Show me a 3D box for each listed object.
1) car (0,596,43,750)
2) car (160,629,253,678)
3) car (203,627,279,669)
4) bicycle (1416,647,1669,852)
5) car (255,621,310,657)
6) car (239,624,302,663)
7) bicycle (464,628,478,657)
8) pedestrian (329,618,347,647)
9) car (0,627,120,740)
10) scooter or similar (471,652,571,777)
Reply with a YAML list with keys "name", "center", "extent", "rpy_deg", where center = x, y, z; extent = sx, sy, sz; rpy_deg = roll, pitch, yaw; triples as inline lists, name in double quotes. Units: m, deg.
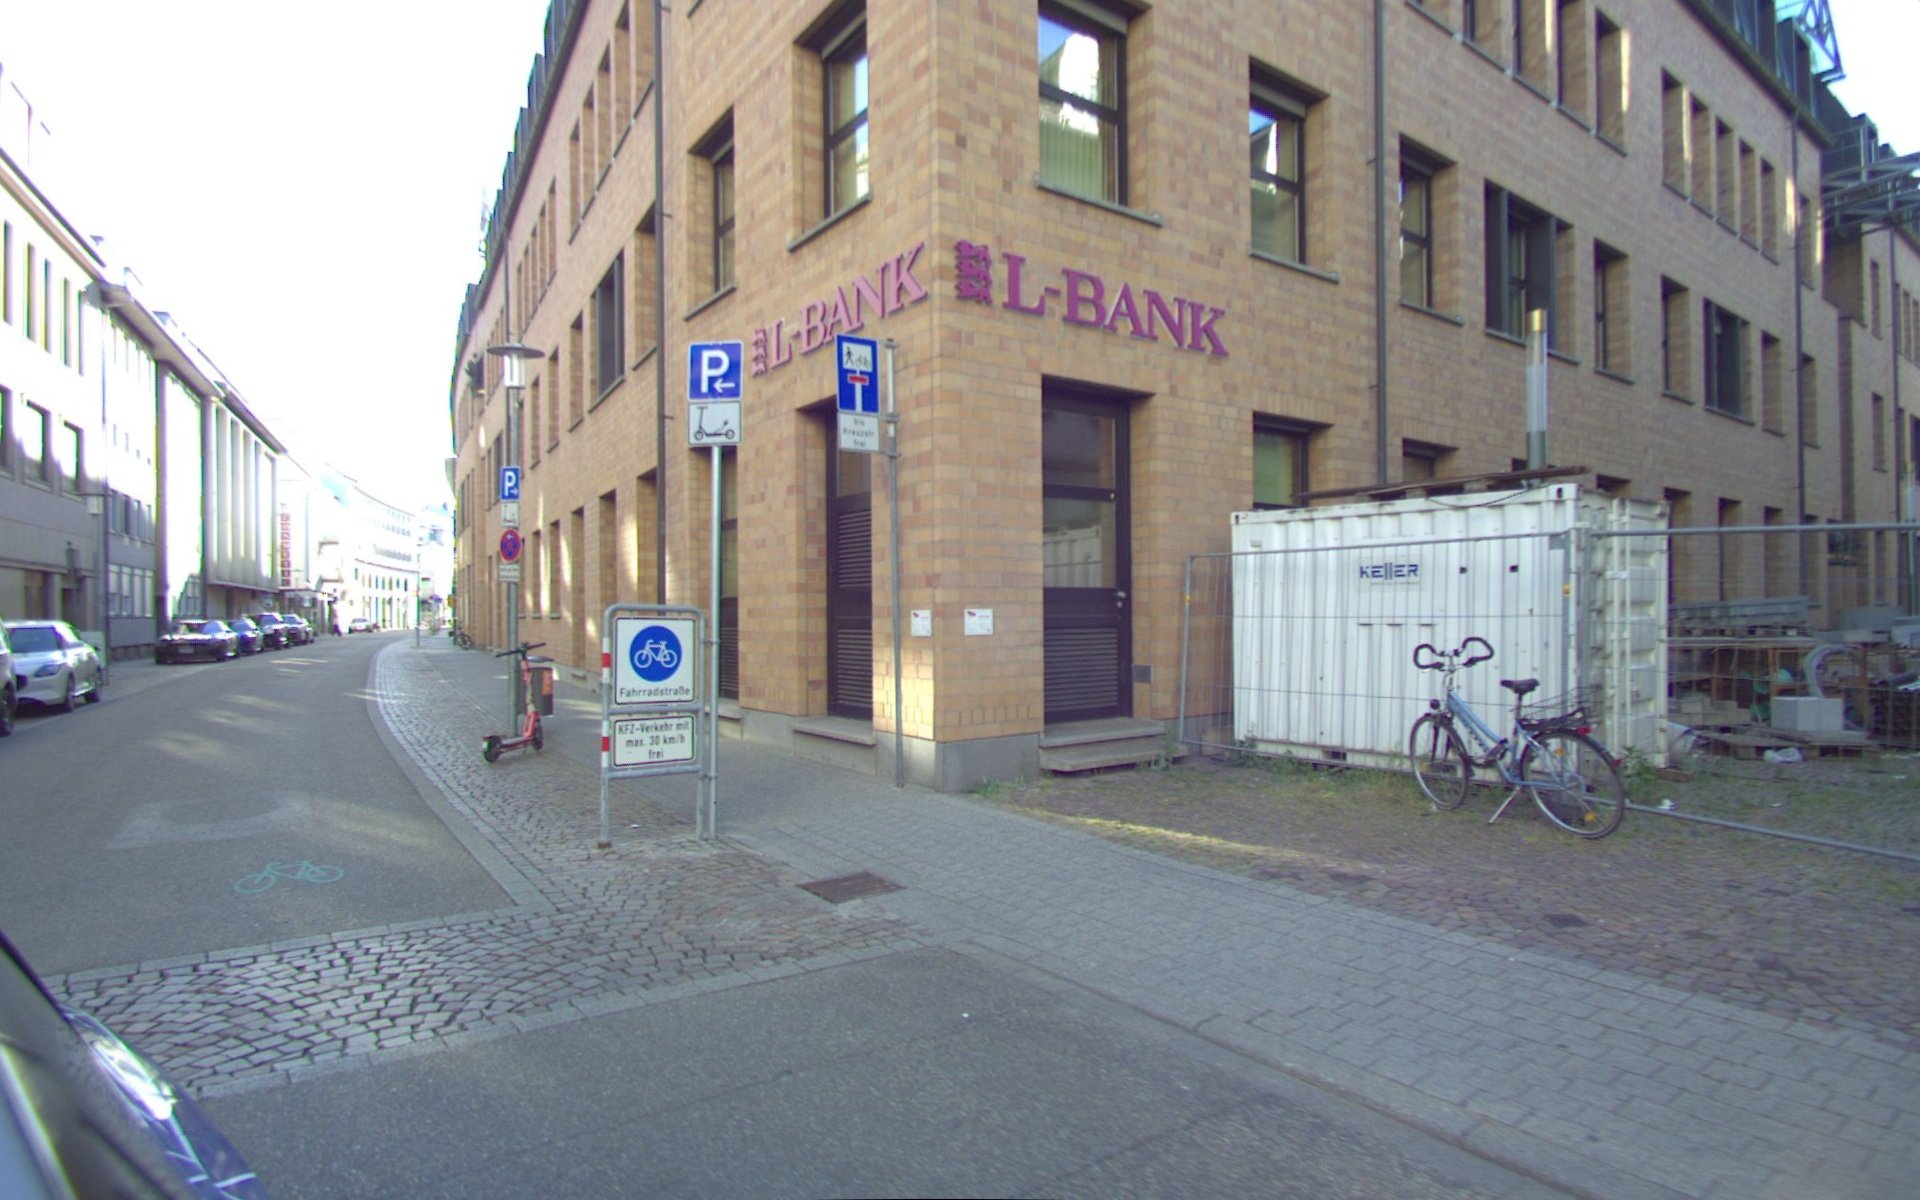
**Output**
- name: "car"
  center: [-12.168, 0.942, 11.215]
  extent: [1.916, 1.875, 5.209]
  rpy_deg: [-5, 2, -32]
- name: "car"
  center: [-25.640, 1.771, 34.586]
  extent: [1.933, 1.418, 4.209]
  rpy_deg: [-2, 0, -29]
- name: "car"
  center: [-28.606, 1.870, 40.374]
  extent: [1.933, 1.418, 4.209]
  rpy_deg: [-2, 0, -29]
- name: "bicycle"
  center: [3.829, 0.924, 6.809]
  extent: [0.424, 1.153, 1.596]
  rpy_deg: [-1, -1, -16]
- name: "car"
  center: [-34.916, 1.990, 52.278]
  extent: [1.933, 1.659, 4.209]
  rpy_deg: [-2, 0, -29]
- name: "car"
  center: [-31.205, 1.917, 45.902]
  extent: [1.933, 1.547, 4.209]
  rpy_deg: [-2, 0, -29]
- name: "bicycle"
  center: [-19.666, 1.698, 40.695]
  extent: [0.424, 1.153, 1.695]
  rpy_deg: [-1, -1, -27]
- name: "pedestrian"
  center: [-45.787, 2.390, 74.493]
  extent: [0.899, 2.029, 0.932]
  rpy_deg: [-2, -1, 41]
- name: "car"
  center: [-15.337, 1.329, 16.606]
  extent: [1.747, 1.595, 3.867]
  rpy_deg: [-5, 2, -32]
- name: "scooter or similar"
  center: [-4.661, 1.181, 10.827]
  extent: [0.462, 1.234, 1.299]
  rpy_deg: [0, -2, 2]
